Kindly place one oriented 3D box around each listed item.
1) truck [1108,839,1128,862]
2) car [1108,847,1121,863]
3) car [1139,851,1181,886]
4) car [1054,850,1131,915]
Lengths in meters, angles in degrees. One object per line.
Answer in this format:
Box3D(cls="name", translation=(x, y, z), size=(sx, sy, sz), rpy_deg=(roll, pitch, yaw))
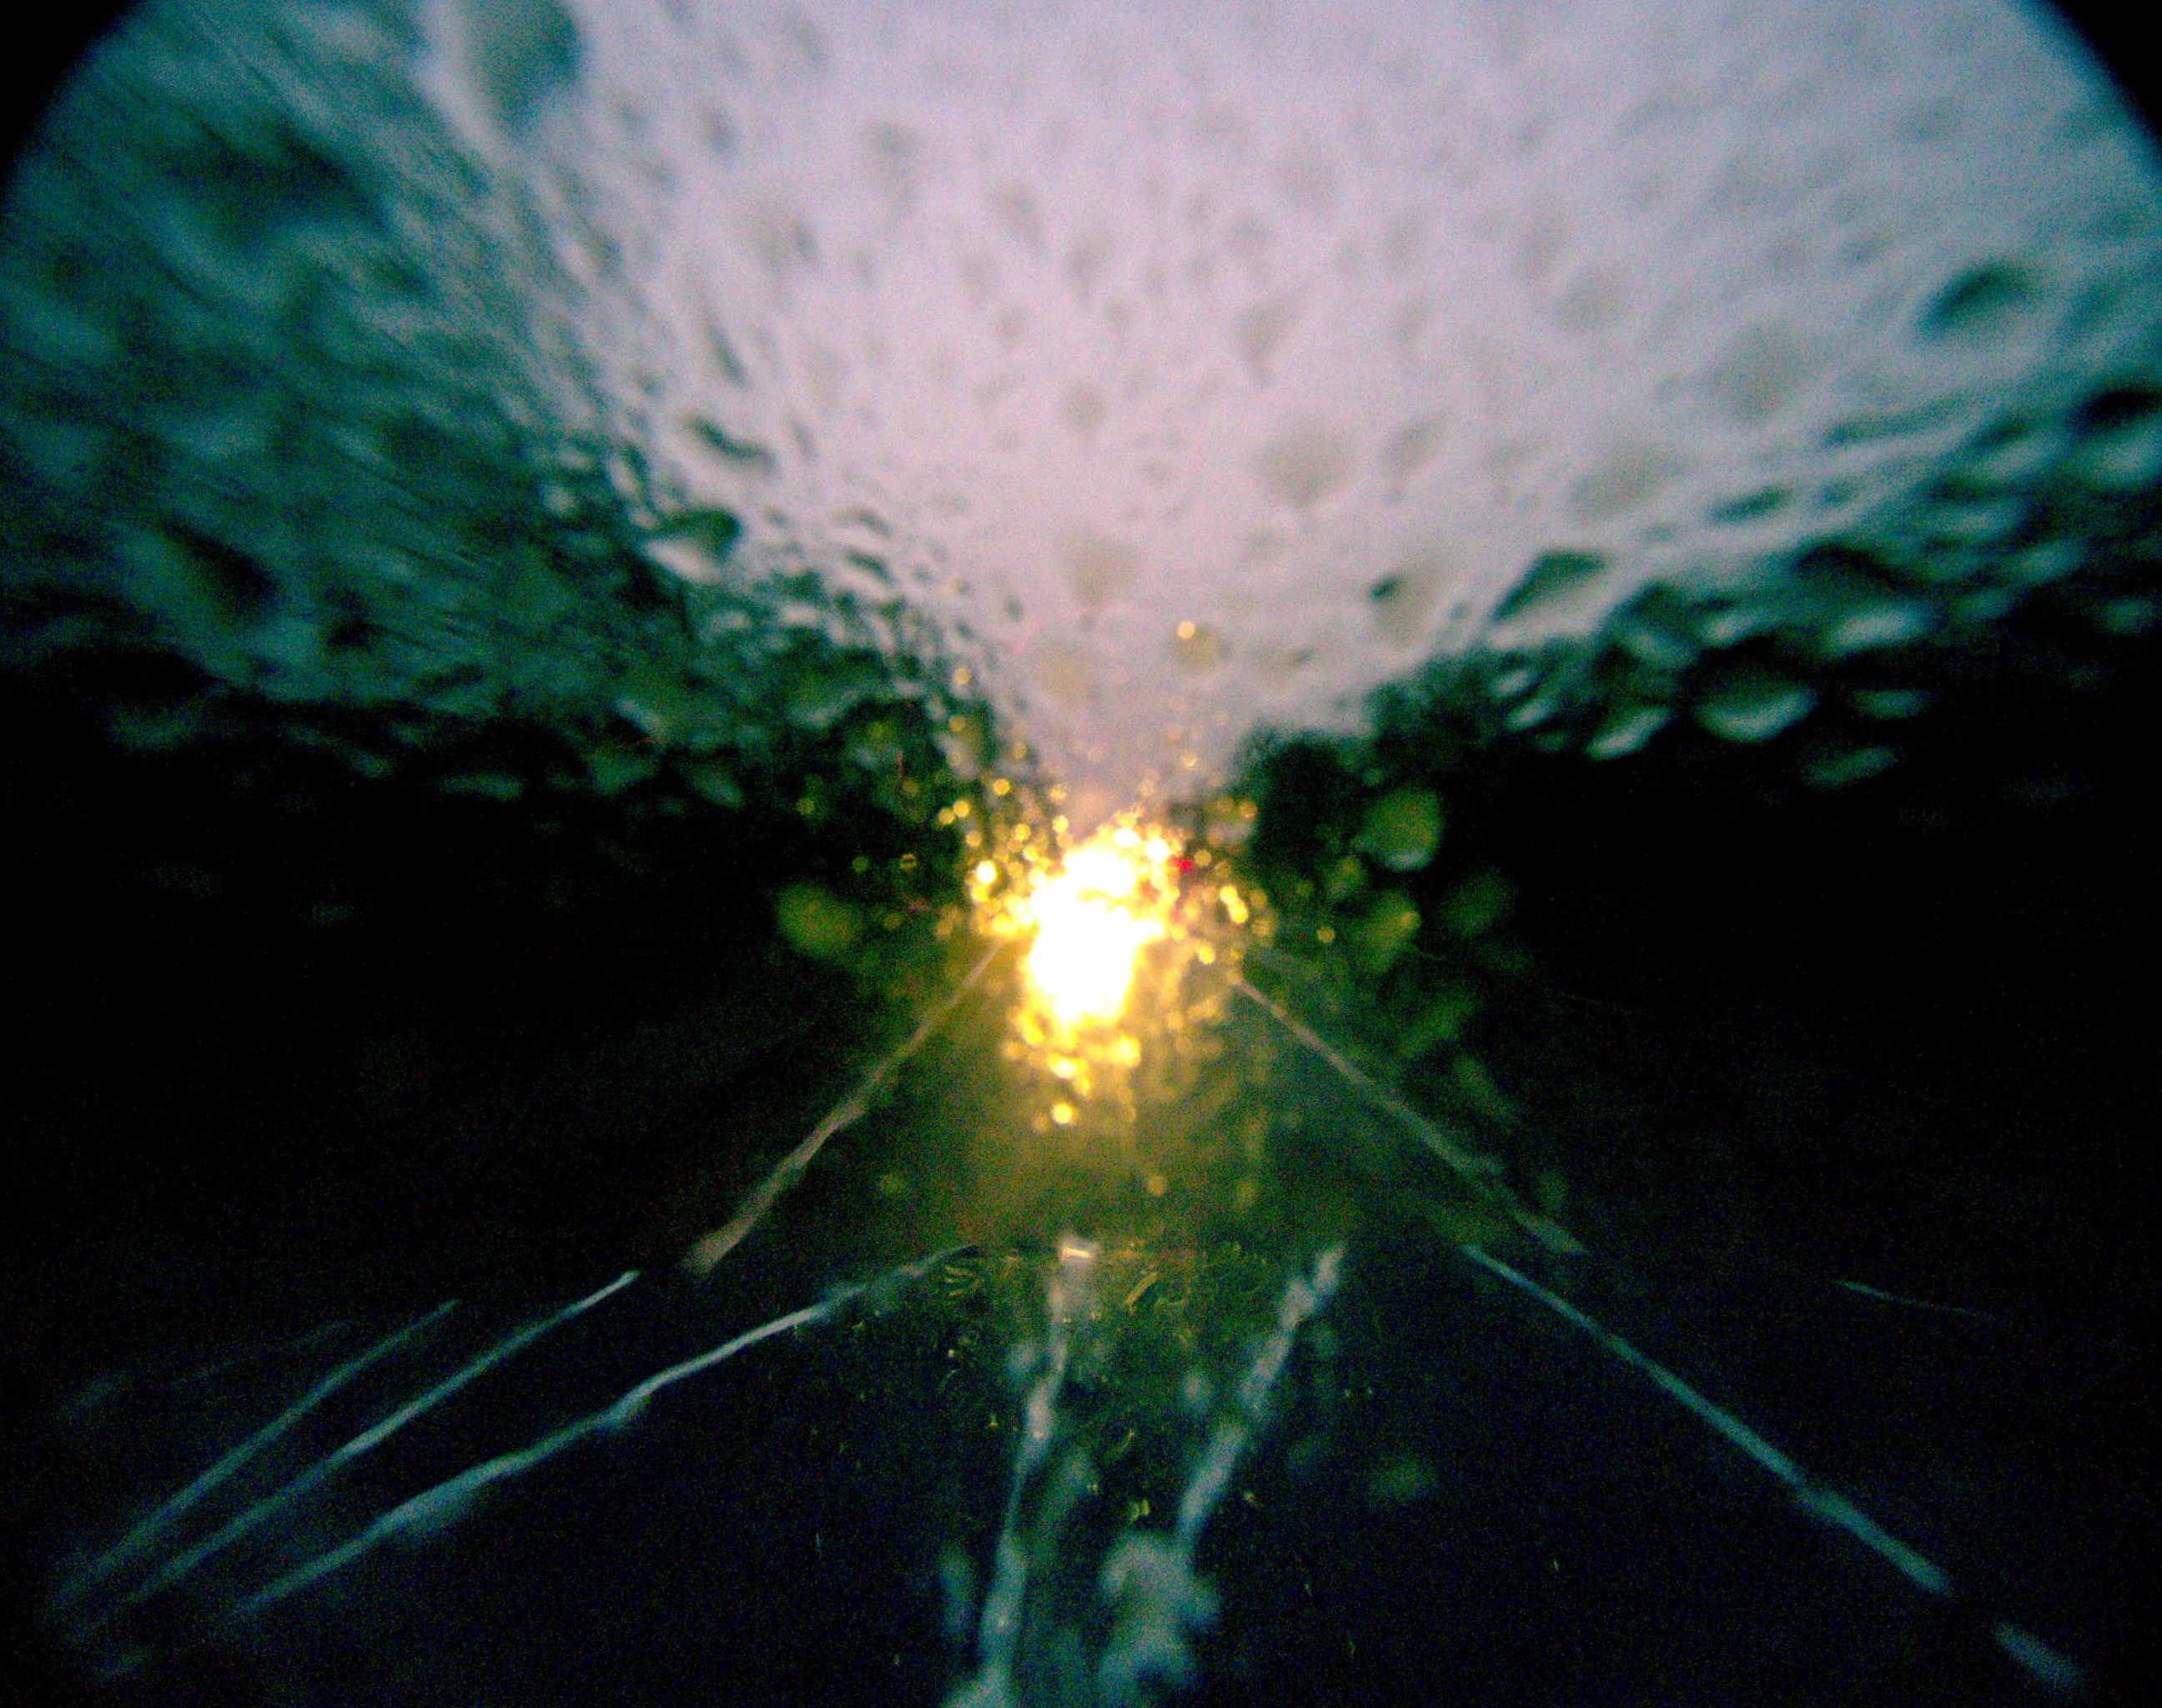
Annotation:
Box3D(cls="truck", translation=(4.682, -0.472, 97.147), size=(2.108, 2.755, 6.871), rpy_deg=(-2, 0, 1))
Box3D(cls="car", translation=(5.888, 0.172, 133.837), size=(2.079, 2.794, 6.652), rpy_deg=(-2, 0, 1))
Box3D(cls="car", translation=(3.849, 0.704, 37.664), size=(1.698, 1.551, 4.129), rpy_deg=(-2, -1, 1))
Box3D(cls="car", translation=(0.327, 0.754, 22.386), size=(1.998, 1.672, 4.000), rpy_deg=(-2, 0, 0))
